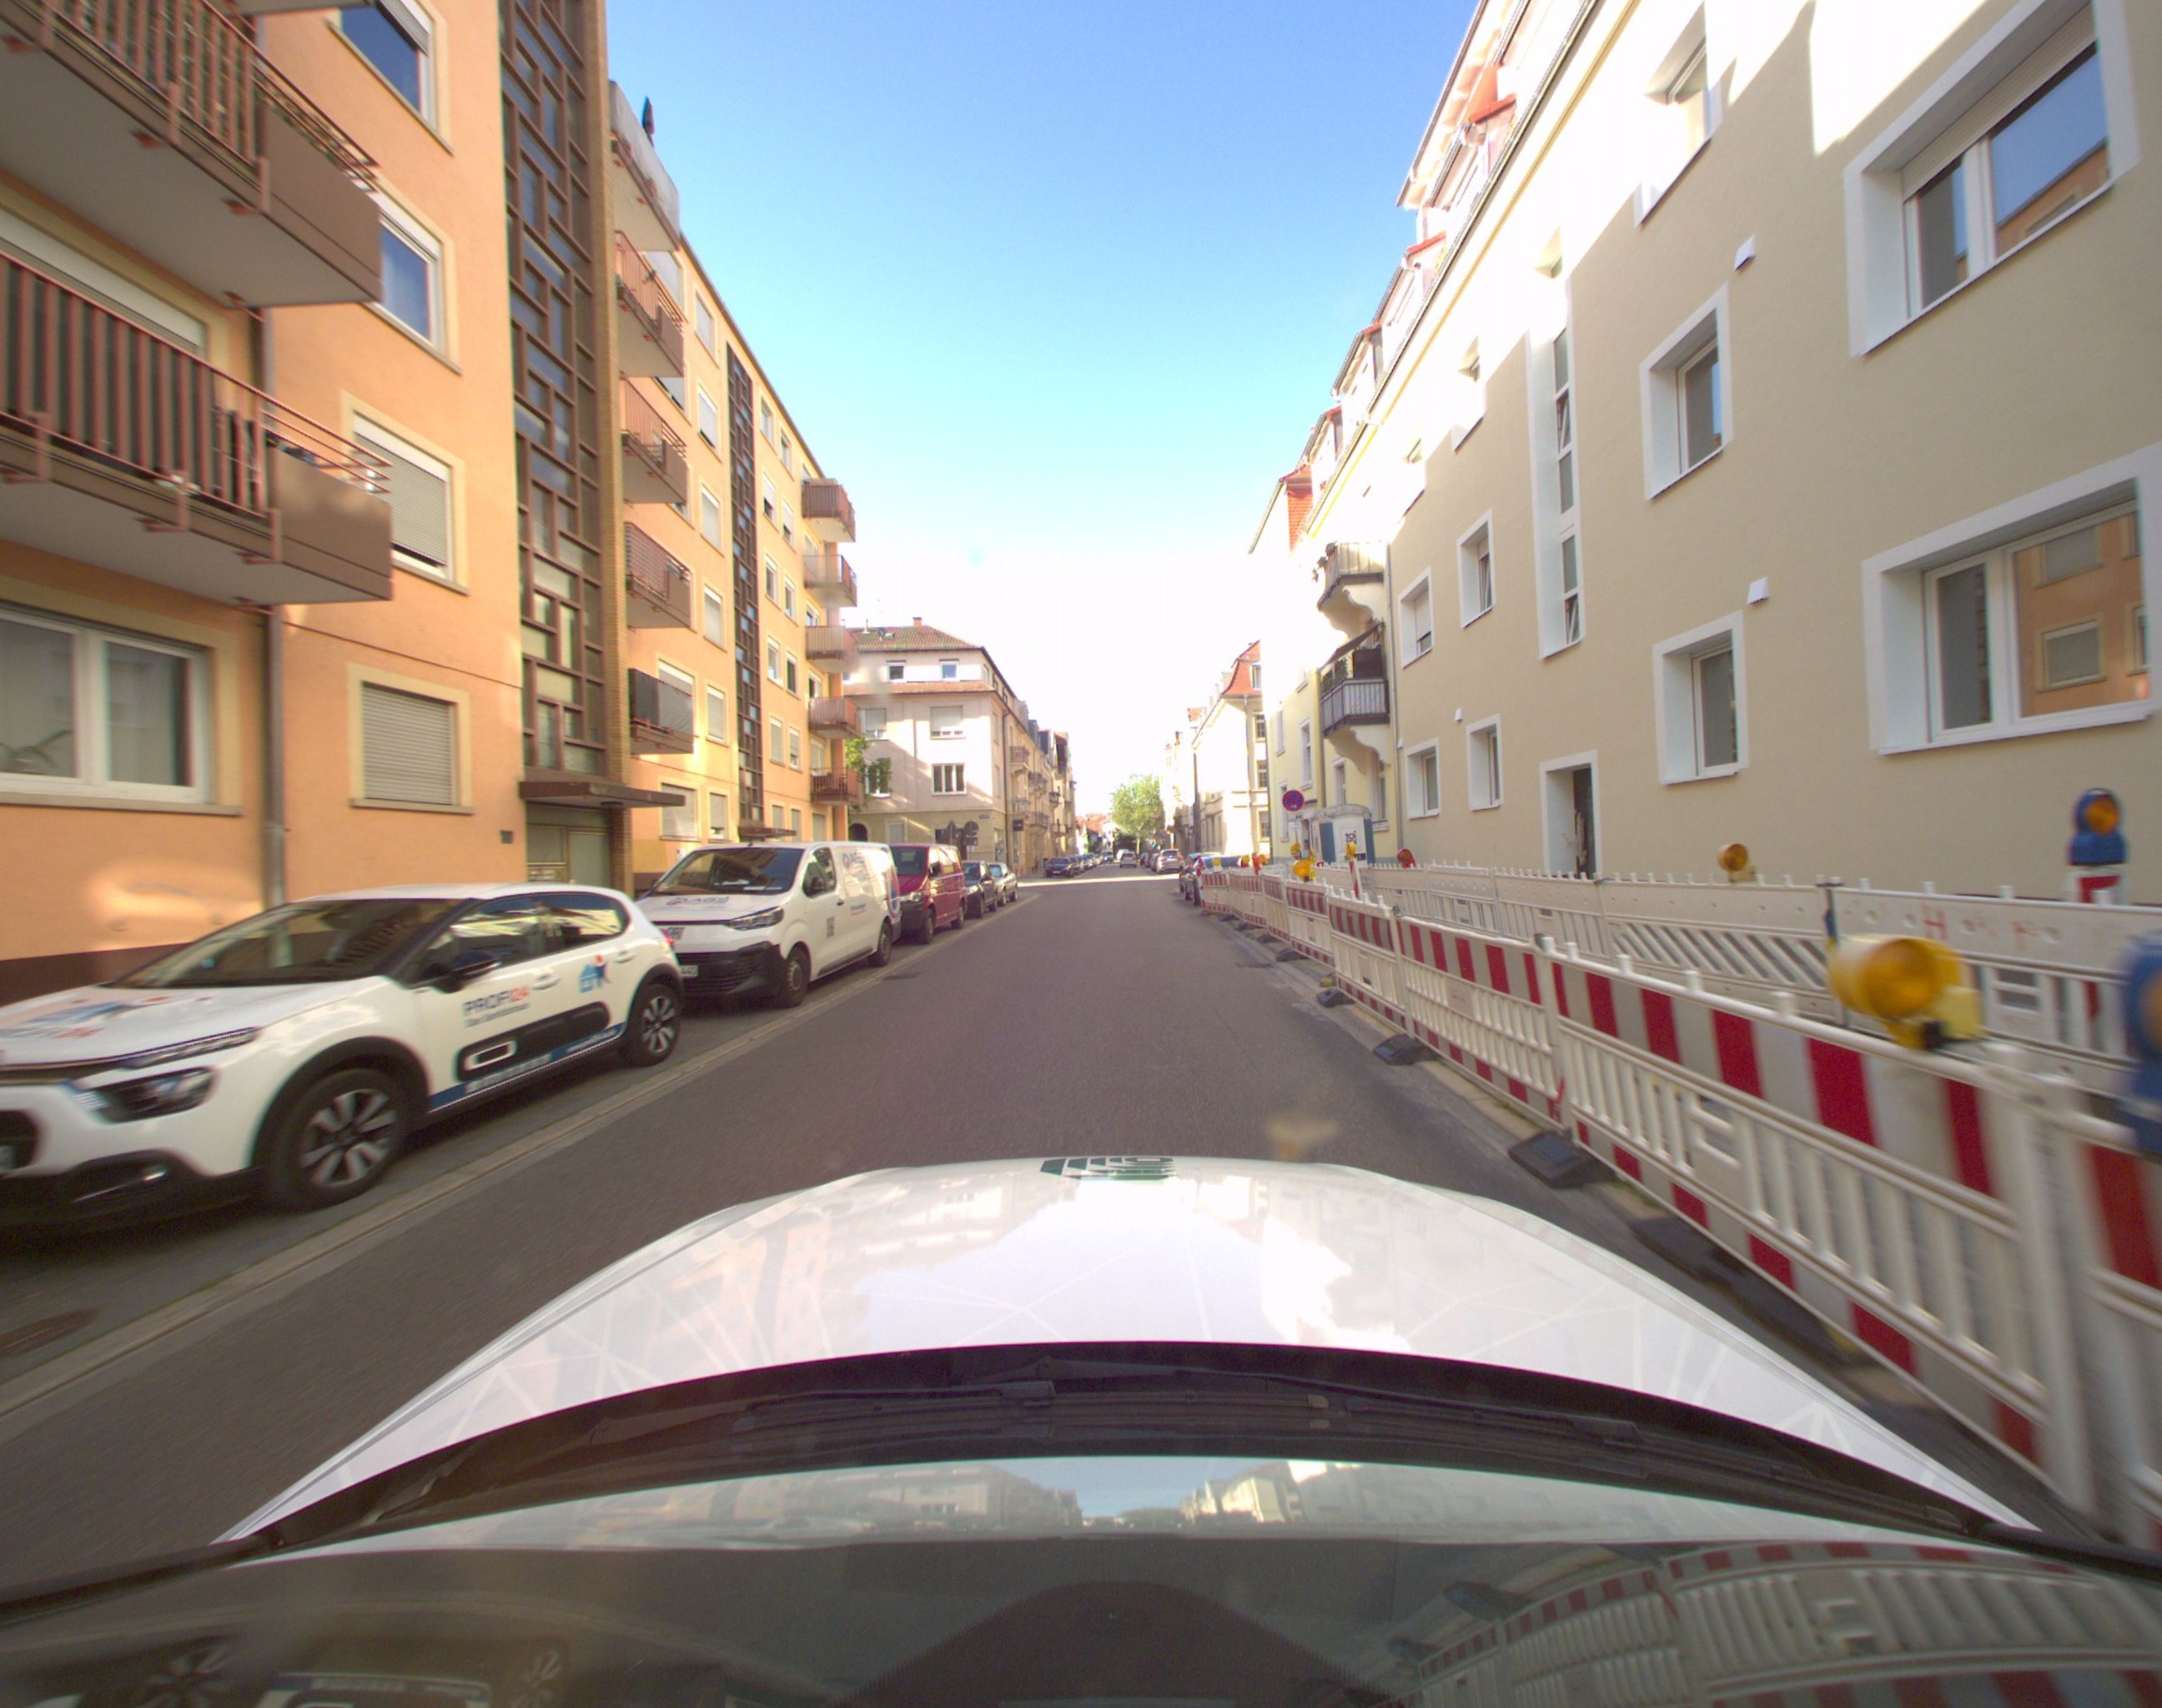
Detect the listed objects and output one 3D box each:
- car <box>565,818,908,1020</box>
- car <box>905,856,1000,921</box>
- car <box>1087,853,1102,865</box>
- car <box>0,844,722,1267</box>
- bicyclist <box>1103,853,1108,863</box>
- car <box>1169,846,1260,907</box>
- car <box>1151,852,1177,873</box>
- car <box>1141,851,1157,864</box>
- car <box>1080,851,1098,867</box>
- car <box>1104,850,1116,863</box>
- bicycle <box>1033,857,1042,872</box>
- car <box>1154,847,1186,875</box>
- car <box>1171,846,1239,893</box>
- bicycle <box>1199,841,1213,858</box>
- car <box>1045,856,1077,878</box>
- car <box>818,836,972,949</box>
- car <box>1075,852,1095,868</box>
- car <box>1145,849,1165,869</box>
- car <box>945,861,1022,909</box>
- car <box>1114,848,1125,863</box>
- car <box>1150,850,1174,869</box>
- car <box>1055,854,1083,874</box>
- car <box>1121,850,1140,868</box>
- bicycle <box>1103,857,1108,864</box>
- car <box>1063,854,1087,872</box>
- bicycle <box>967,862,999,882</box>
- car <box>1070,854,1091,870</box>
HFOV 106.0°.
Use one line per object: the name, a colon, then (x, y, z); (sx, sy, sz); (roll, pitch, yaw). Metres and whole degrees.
car: (-3.982, 0.640, 10.721); (1.967, 1.925, 5.313); (-2, 0, 3)
car: (-3.424, 0.872, 22.446); (1.756, 1.502, 4.001); (-4, 0, 2)
car: (1.927, 0.726, 112.992); (1.996, 1.605, 4.489); (-1, -1, 2)
car: (-4.296, 0.804, 5.336); (1.755, 1.621, 4.298); (-2, 0, 3)
bicyclist: (3.695, 0.578, 123.109); (0.660, 1.385, 0.754); (-5, -1, 2)
car: (3.918, 0.613, 24.733); (1.795, 1.470, 5.110); (-6, 0, 0)
car: (6.605, 0.713, 65.394); (1.831, 1.431, 4.032); (-4, -2, 3)
car: (8.573, 0.469, 102.602); (1.831, 1.431, 4.032); (-4, -2, 3)
car: (0.950, 0.619, 98.166); (1.996, 1.788, 4.489); (-1, -1, 2)
car: (4.704, 0.396, 131.845); (1.996, 2.000, 4.489); (-1, -1, 2)
bicycle: (-3.782, 0.927, 71.446); (0.538, 1.301, 1.869); (-2, 0, 4)
car: (5.954, 0.503, 54.683); (1.904, 1.644, 4.780); (-4, -2, 5)
car: (4.539, 0.549, 30.344); (1.757, 1.470, 4.084); (-6, 0, 0)
bicycle: (9.823, -0.335, 64.163); (0.758, 1.246, 2.594); (-3, 0, 3)
car: (-1.319, 0.868, 55.476); (1.672, 1.426, 4.279); (-1, -1, 5)
car: (-3.605, 0.673, 16.772); (1.755, 1.925, 4.938); (-2, 0, 3)
car: (0.435, 0.683, 87.298); (1.996, 1.619, 4.489); (-1, -1, 2)
car: (7.627, 0.549, 83.777); (1.831, 1.787, 4.032); (-4, -2, 3)
car: (-3.204, 0.981, 27.557); (1.755, 1.377, 4.482); (-2, 0, 3)
car: (6.962, 0.264, 146.813); (1.831, 2.534, 4.179); (-4, -2, 3)
car: (7.062, 0.485, 70.990); (1.831, 1.431, 4.032); (-4, -2, 3)
car: (-0.933, 0.820, 66.008); (1.996, 1.582, 4.489); (-1, -1, 2)
car: (5.398, 0.525, 89.627); (1.995, 1.914, 4.490); (-1, -1, 3)
bicycle: (3.715, 0.999, 123.086); (0.660, 1.019, 2.067); (-5, -1, 2)
car: (-0.498, 0.818, 73.674); (1.996, 1.619, 4.489); (-1, -1, 2)
bicycle: (-5.987, 1.081, 49.945); (1.895, 1.135, 0.647); (-2, 1, -5)
car: (0.010, 0.832, 82.718); (1.971, 1.482, 4.330); (-1, -1, 2)
